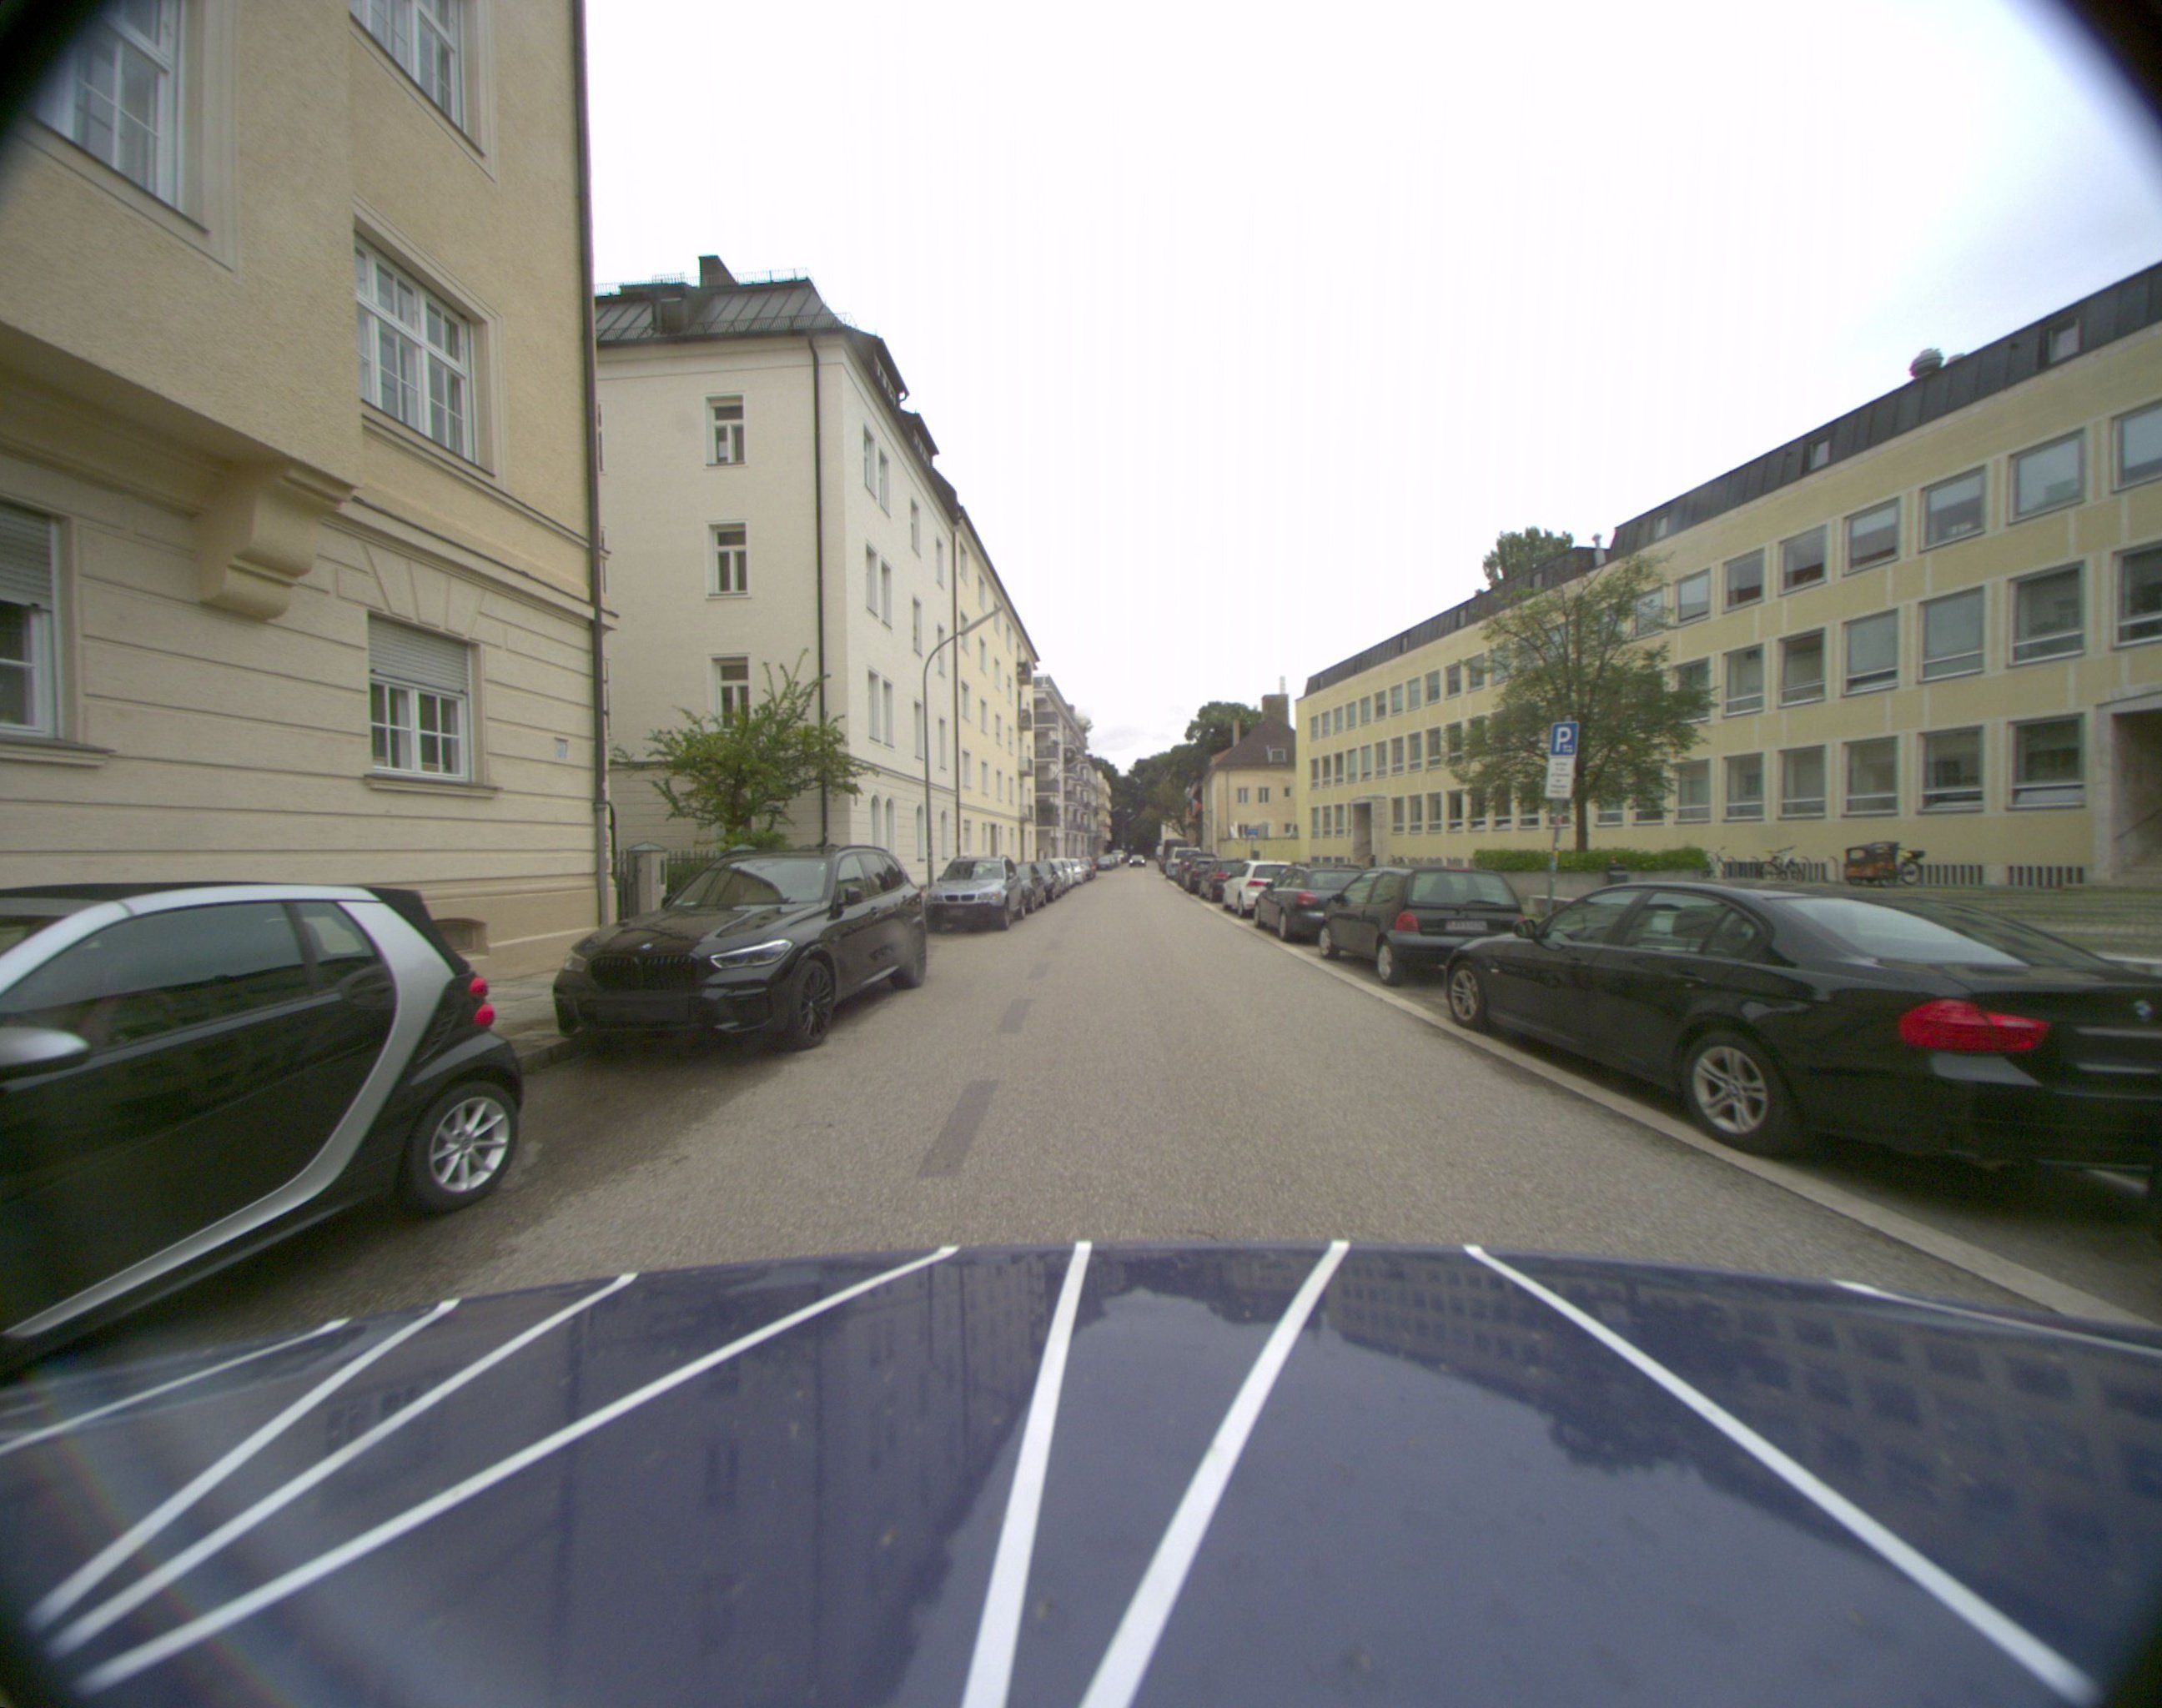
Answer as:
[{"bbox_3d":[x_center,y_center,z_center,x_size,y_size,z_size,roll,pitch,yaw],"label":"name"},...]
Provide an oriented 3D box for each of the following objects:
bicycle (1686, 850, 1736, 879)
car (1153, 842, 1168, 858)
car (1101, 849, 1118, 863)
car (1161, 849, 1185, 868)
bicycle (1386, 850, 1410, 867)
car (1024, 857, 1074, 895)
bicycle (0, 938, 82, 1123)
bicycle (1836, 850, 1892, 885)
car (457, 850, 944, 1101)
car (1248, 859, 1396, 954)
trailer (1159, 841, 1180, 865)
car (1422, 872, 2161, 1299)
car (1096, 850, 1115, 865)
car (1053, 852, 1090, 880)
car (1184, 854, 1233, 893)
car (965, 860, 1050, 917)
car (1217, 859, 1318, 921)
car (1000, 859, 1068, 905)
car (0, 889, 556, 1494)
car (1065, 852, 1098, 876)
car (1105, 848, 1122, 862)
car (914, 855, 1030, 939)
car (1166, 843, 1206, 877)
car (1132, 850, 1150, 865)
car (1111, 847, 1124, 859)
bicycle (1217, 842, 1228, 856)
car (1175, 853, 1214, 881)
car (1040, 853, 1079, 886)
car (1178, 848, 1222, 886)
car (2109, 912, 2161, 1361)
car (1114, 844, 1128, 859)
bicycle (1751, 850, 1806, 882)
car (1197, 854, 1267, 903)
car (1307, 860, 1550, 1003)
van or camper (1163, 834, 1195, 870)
[{"bbox_3d":[22.046,0.355,26.589,1.610,0.939,0.502,-3,1,-14],"label":"bicycle"},{"bbox_3d":[11.968,-0.619,114.320,2.116,2.462,5.233,0,1,5],"label":"car"},{"bbox_3d":[3.076,0.178,82.127,1.620,1.458,3.747,-2,0,5],"label":"car"},{"bbox_3d":[7.811,0.378,64.717,1.656,1.488,3.909,1,1,1],"label":"car"},{"bbox_3d":[18.921,0.251,45.328,1.413,0.939,0.413,-3,1,-24],"label":"bicycle"},{"bbox_3d":[-1.331,0.901,33.125,1.728,1.441,4.188,-2,0,3],"label":"car"},{"bbox_3d":[-6.743,1.080,3.819,0.503,1.043,2.138,2,1,6],"label":"bicycle"},{"bbox_3d":[22.654,0.383,21.979,1.610,0.939,0.502,-3,1,-20],"label":"bicycle"},{"bbox_3d":[-3.173,0.860,7.890,2.174,1.729,5.025,-2,0,4],"label":"car"},{"bbox_3d":[4.450,0.882,14.688,1.634,1.486,4.275,0,1,2],"label":"car"},{"bbox_3d":[9.581,-0.151,81.797,1.979,2.457,4.579,2,1,8],"label":"trailer"},{"bbox_3d":[4.214,0.931,5.078,1.778,1.457,4.465,1,0,-1],"label":"car"},{"bbox_3d":[2.475,0.327,76.495,1.775,1.467,4.218,-1,0,3],"label":"car"},{"bbox_3d":[-0.500,0.632,43.024,1.729,1.421,4.294,-2,0,3],"label":"car"},{"bbox_3d":[5.156,0.747,31.177,1.634,1.486,3.820,0,1,4],"label":"car"},{"bbox_3d":[-2.083,0.957,22.713,1.831,1.441,4.085,-2,0,4],"label":"car"},{"bbox_3d":[4.843,0.870,20.328,1.745,1.414,4.294,0,1,2],"label":"car"},{"bbox_3d":[-1.640,0.961,28.153,1.880,1.441,4.679,-2,0,4],"label":"car"},{"bbox_3d":[-3.682,0.991,2.547,1.517,1.546,3.020,-2,0,5],"label":"car"},{"bbox_3d":[0.062,0.620,48.827,1.777,1.421,4.616,-2,0,4],"label":"car"},{"bbox_3d":[3.781,0.066,87.089,1.795,1.473,4.604,-2,1,4],"label":"car"},{"bbox_3d":[-2.406,0.900,17.978,1.850,1.654,4.498,-1,1,3],"label":"car"},{"bbox_3d":[6.349,0.344,46.436,1.919,1.948,4.962,1,0,2],"label":"car"},{"bbox_3d":[6.834,0.389,86.871,1.998,1.521,4.001,-2,0,5],"label":"car"},{"bbox_3d":[4.740,-0.191,99.046,1.668,1.459,4.376,-1,2,3],"label":"car"},{"bbox_3d":[12.653,-0.454,67.986,0.804,1.226,1.868,-1,1,4],"label":"bicycle"},{"bbox_3d":[6.181,0.668,41.596,1.808,1.398,3.710,1,1,4],"label":"car"},{"bbox_3d":[-1.037,0.734,38.248,1.654,1.535,3.994,-2,0,2],"label":"car"},{"bbox_3d":[5.616,0.573,36.361,1.718,1.680,4.141,1,1,4],"label":"car"},{"bbox_3d":[4.318,0.951,1.161,1.523,1.457,2.886,1,1,-1],"label":"car"},{"bbox_3d":[6.009,-0.385,113.787,1.857,2.019,4.784,-2,0,5],"label":"car"},{"bbox_3d":[22.339,0.371,24.339,1.610,0.939,0.502,-3,1,-14],"label":"bicycle"},{"bbox_3d":[5.115,0.792,26.209,1.635,1.486,4.100,1,1,1],"label":"car"},{"bbox_3d":[4.379,0.876,10.206,1.635,1.486,3.603,1,1,1],"label":"car"},{"bbox_3d":[7.598,-0.214,59.451,2.297,2.636,5.563,1,1,6],"label":"van or camper"}]
